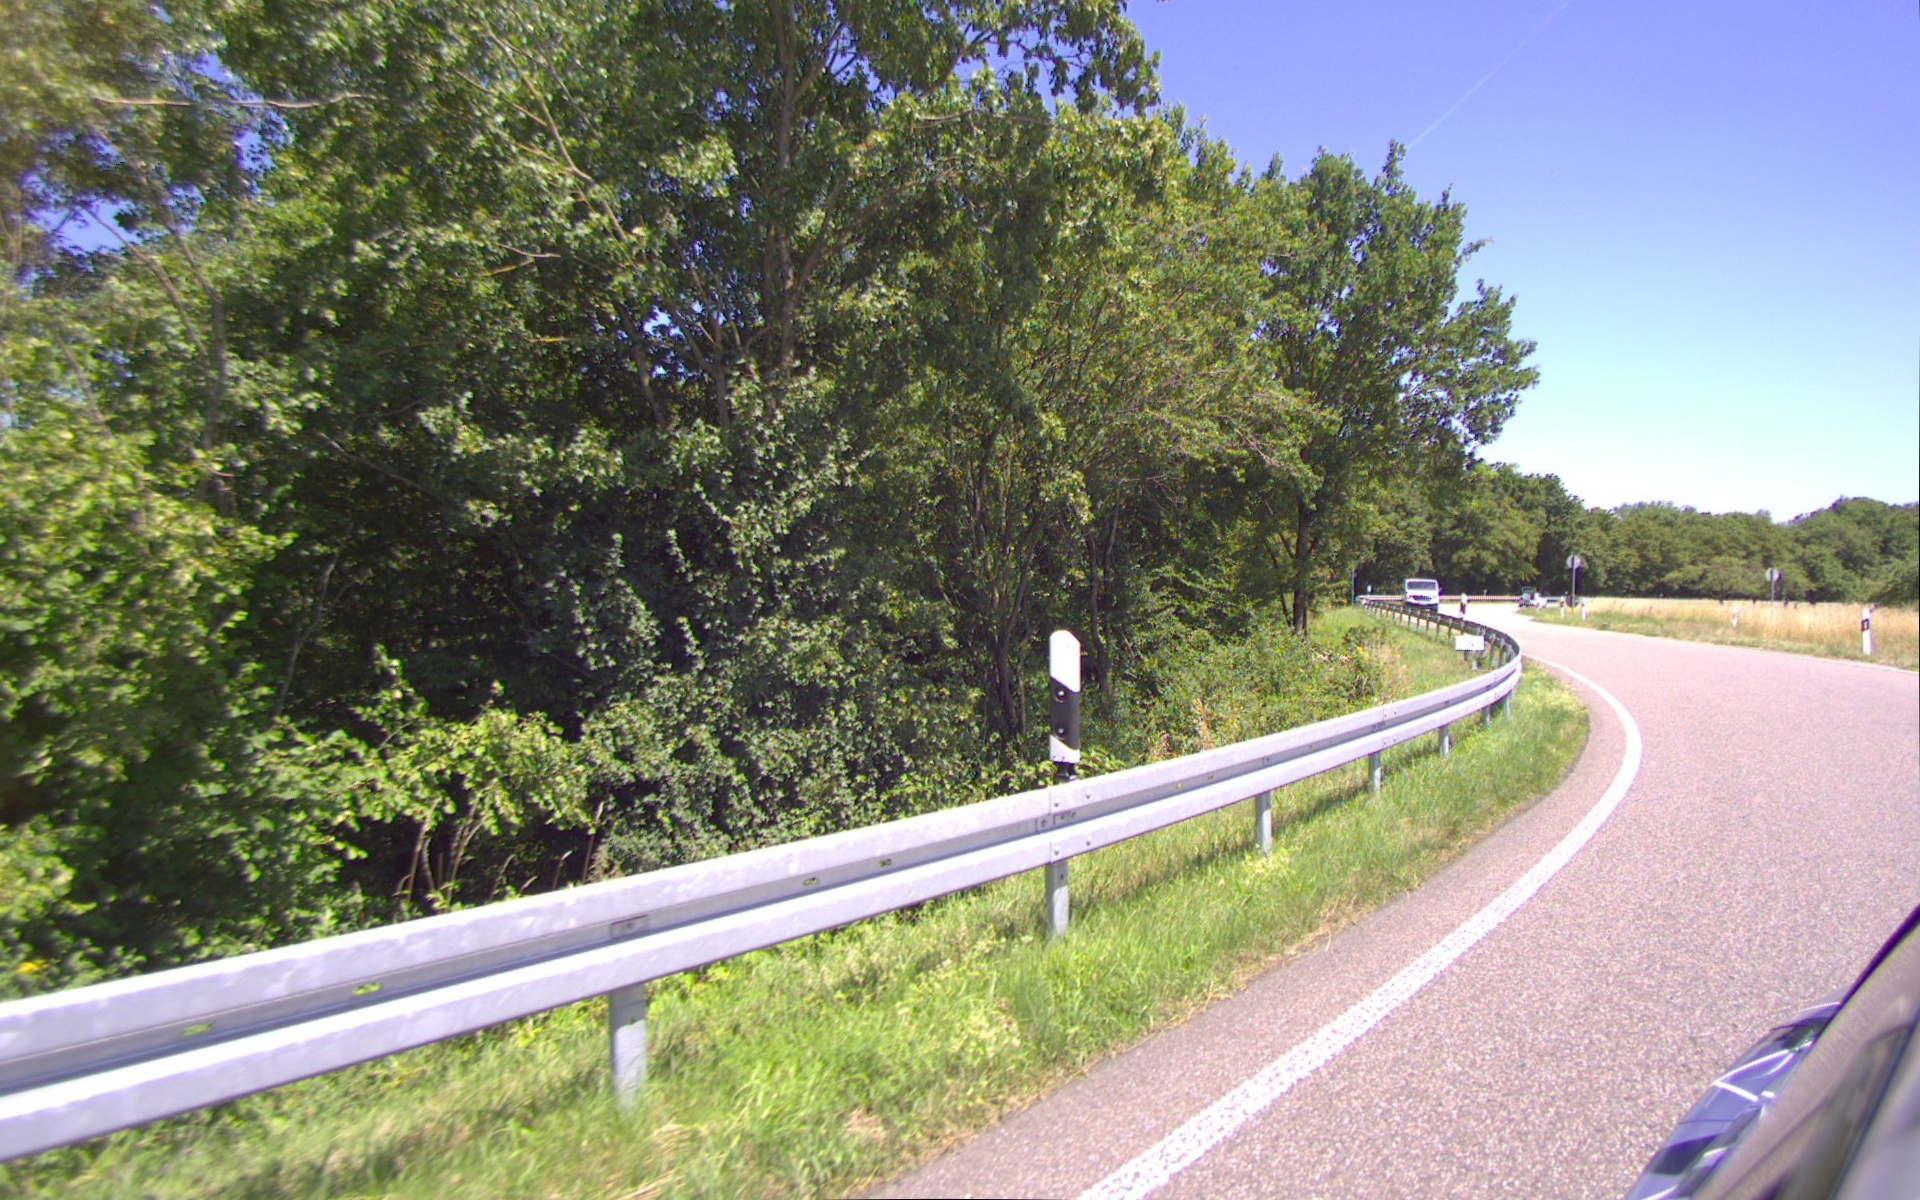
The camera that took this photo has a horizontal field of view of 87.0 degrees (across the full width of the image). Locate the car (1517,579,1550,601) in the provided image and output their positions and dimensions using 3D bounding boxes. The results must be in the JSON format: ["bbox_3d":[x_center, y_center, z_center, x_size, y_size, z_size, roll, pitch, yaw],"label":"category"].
[{"bbox_3d":[56.196,-0.954,99.075,1.992,2.038,4.379,3,2,40],"label":"car"}]

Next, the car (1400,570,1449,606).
[{"bbox_3d":[28.186,-0.737,61.529,1.972,2.038,4.423,2,2,15],"label":"car"}]
